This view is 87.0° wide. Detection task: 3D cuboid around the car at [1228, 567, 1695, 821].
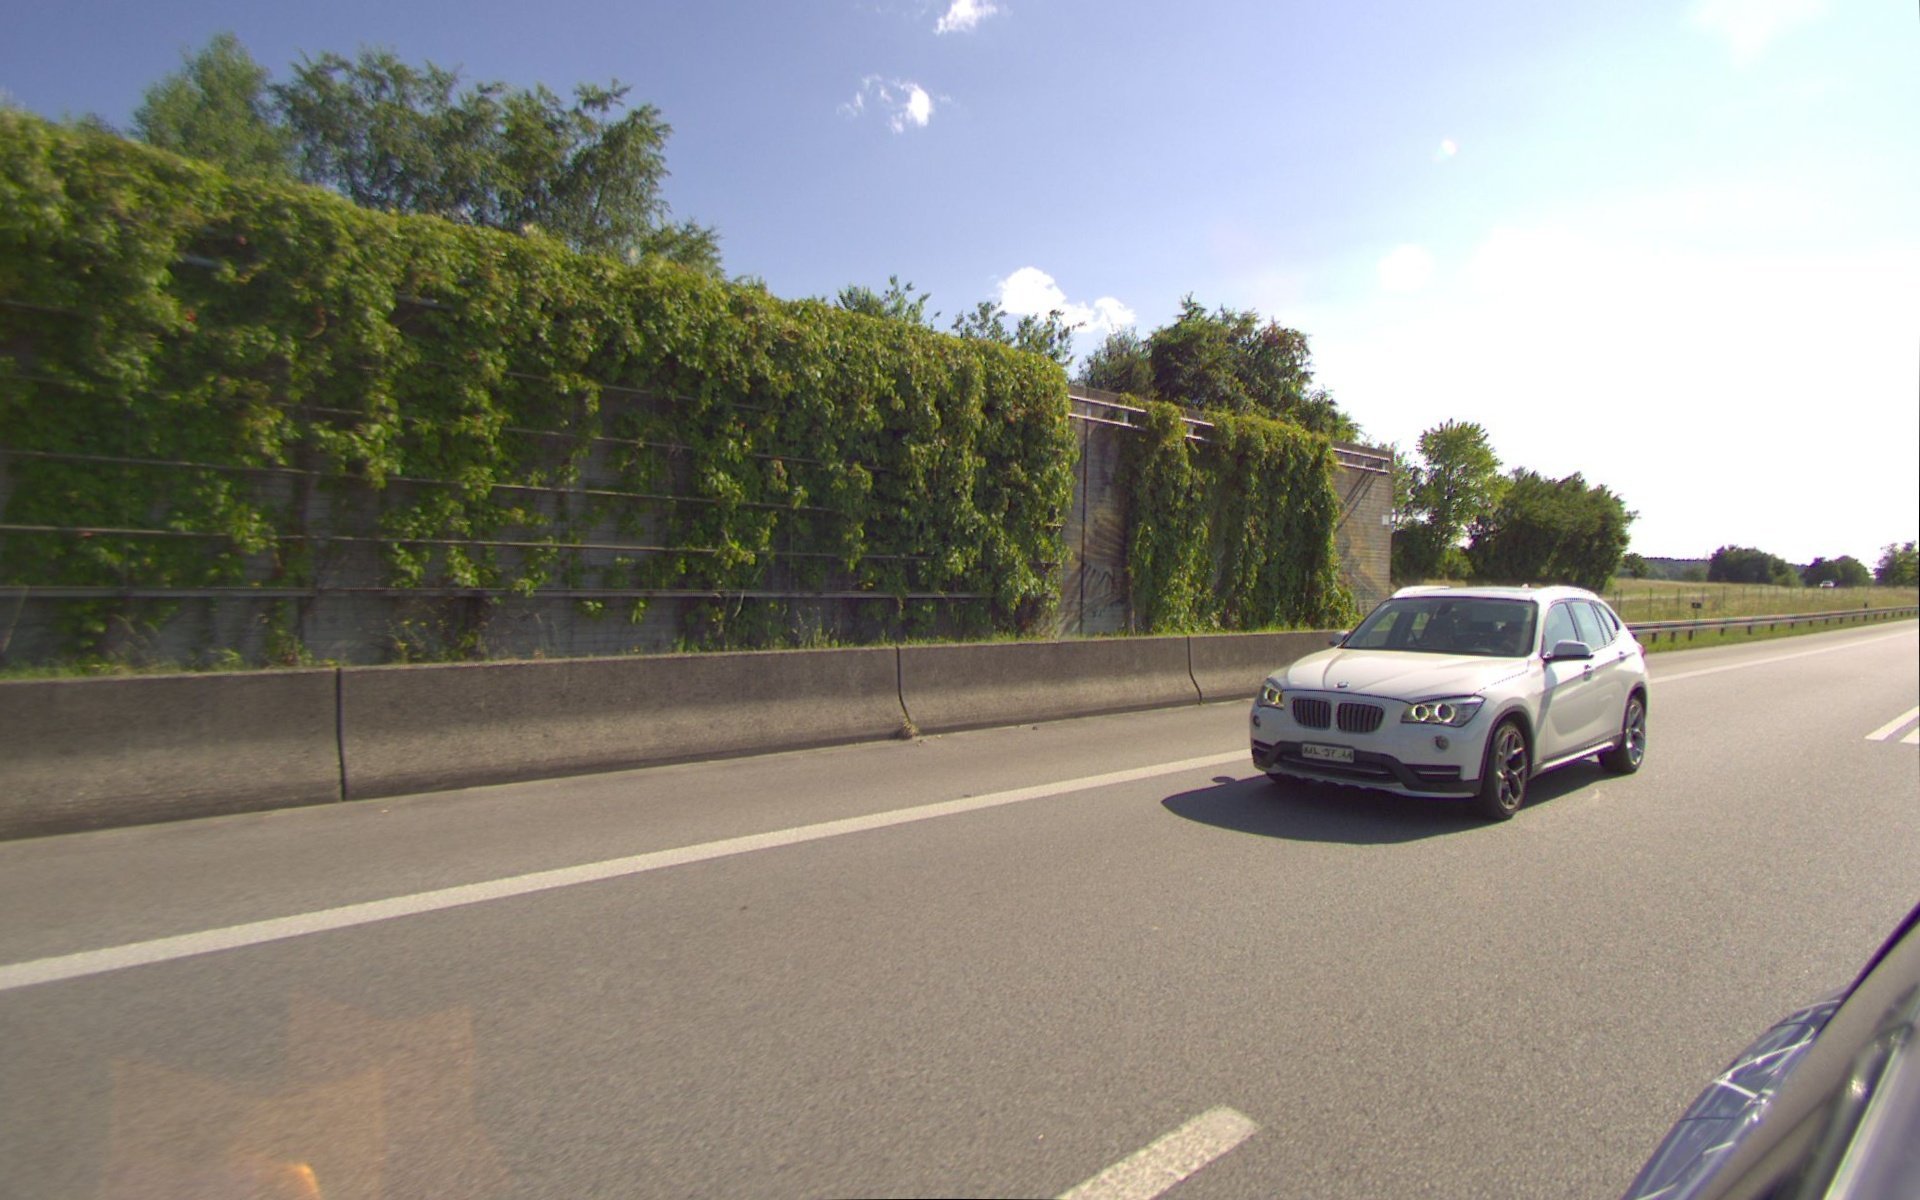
[{"bbox_3d":[4.341,0.573,8.299,4.899,1.515,1.687,1,0,-41],"label":"car"}]
